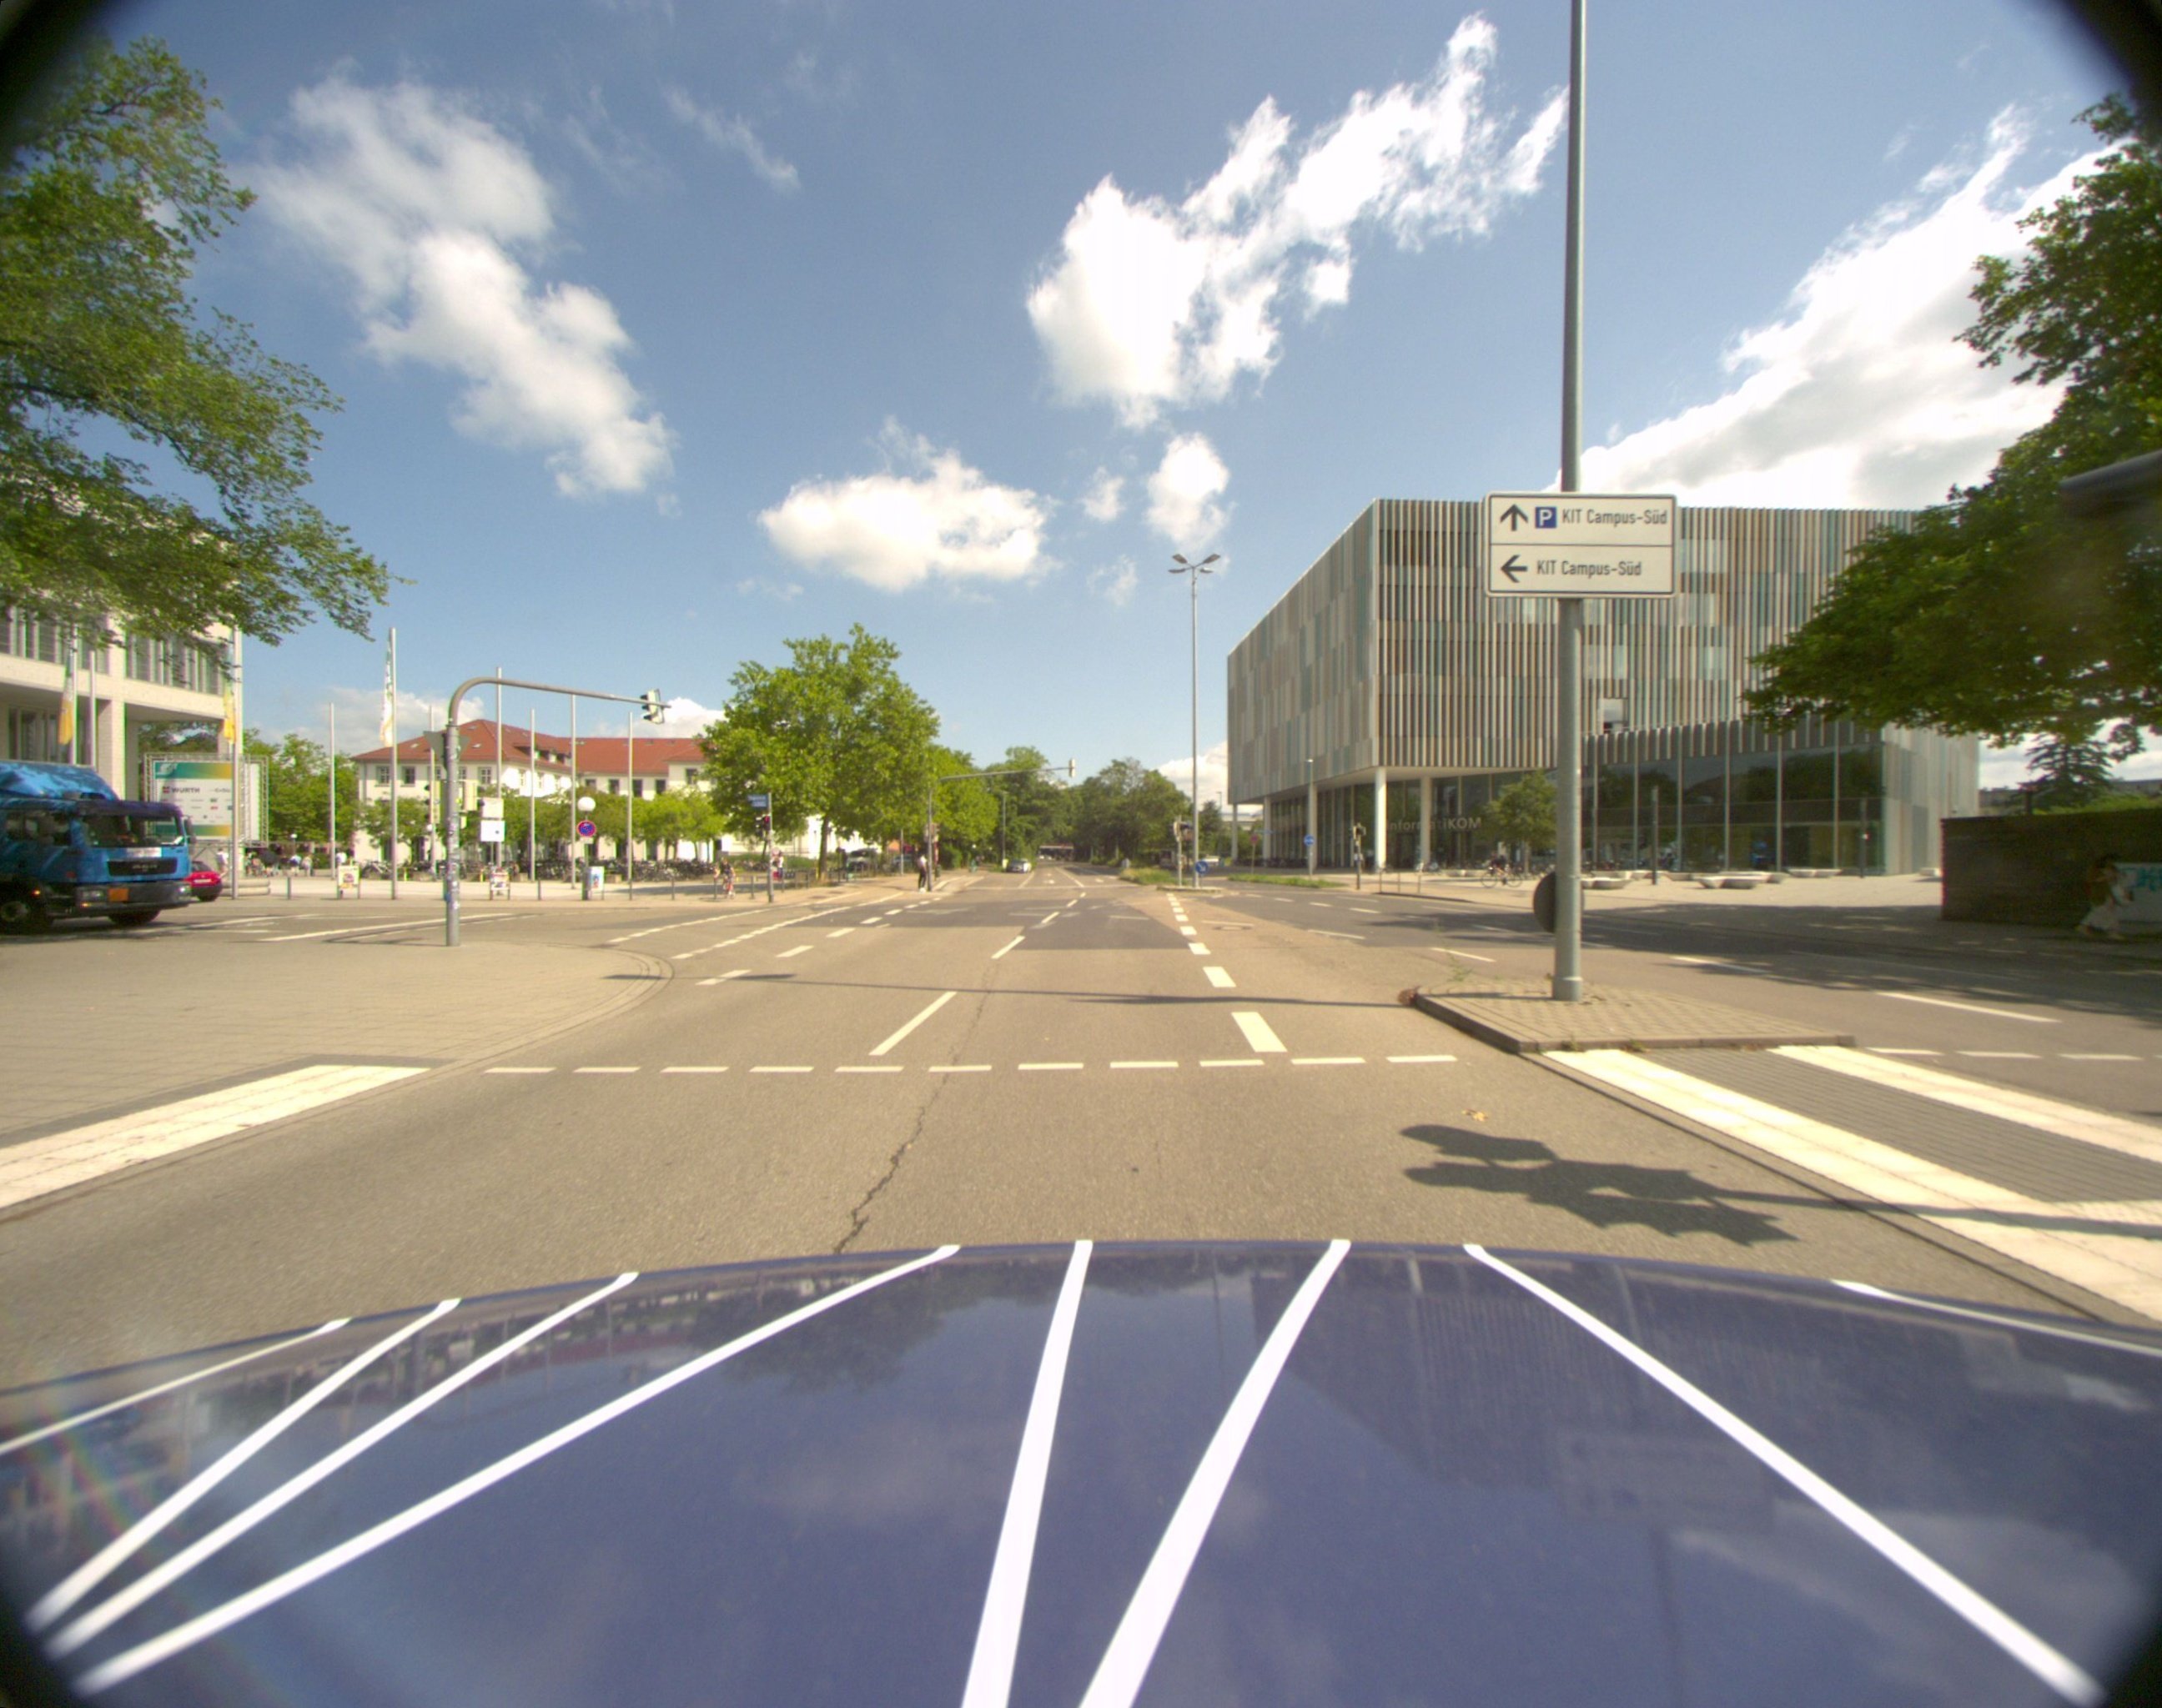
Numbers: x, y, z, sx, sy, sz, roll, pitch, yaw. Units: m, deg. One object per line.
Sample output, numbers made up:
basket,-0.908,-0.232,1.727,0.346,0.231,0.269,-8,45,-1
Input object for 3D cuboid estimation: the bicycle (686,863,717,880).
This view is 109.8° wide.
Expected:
bicycle,-24.854,1.123,49.781,1.673,1.090,0.626,0,0,-7

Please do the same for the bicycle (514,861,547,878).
bicycle,-36.651,1.020,50.617,1.673,1.090,0.626,0,0,-7

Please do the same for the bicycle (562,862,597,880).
bicycle,-30.937,1.016,46.863,1.673,1.090,0.626,0,0,-7

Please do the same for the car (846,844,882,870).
car,-17.776,0.250,62.548,1.999,2.002,4.900,0,0,-6

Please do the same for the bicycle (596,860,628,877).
bicycle,-30.669,0.945,49.735,1.673,1.090,0.626,0,0,-7

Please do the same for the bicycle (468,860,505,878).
bicycle,-36.575,0.911,46.752,1.673,1.090,0.626,0,0,-7

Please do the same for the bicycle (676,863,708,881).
bicycle,-24.536,1.139,47.915,1.673,1.090,0.626,0,0,-7

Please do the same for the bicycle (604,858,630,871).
bicycle,-37.751,0.850,61.776,1.673,1.090,0.626,0,0,-7

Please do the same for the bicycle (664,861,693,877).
bicycle,-27.895,1.062,52.645,1.673,1.090,0.626,0,0,-7

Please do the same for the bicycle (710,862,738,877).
bicycle,-24.899,1.076,52.984,1.673,0.966,0.626,0,0,-7

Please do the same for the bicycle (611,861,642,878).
bicycle,-30.815,1.045,51.483,1.673,1.090,0.626,0,0,-7

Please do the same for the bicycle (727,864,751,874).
bicycle,-27.683,1.211,61.544,1.673,0.785,0.626,0,0,-9

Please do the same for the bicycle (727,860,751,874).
bicycle,-27.137,1.015,60.311,1.673,1.090,0.626,0,0,-7

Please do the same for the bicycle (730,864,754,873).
bicycle,-27.773,1.182,62.228,1.673,0.785,0.626,0,0,-9

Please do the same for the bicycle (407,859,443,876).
bicycle,-42.605,0.869,49.341,1.673,1.090,0.626,0,0,-7

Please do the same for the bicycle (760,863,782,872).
bicycle,-26.274,1.141,64.397,1.673,0.729,0.626,0,0,-7

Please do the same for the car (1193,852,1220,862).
car,20.434,0.454,123.693,3.997,1.676,1.646,0,0,0

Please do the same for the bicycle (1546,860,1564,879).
bicycle,30.066,0.966,48.222,0.745,1.131,2.323,0,0,38

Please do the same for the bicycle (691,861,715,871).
bicycle,-32.043,0.994,64.377,1.673,0.785,0.626,0,0,-7

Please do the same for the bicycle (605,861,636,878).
bicycle,-30.752,1.045,50.743,1.673,1.090,0.626,0,0,-7

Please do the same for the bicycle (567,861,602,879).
bicycle,-31.024,0.977,47.500,1.673,1.090,0.626,0,0,-7

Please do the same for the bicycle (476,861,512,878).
bicycle,-36.712,0.959,47.499,1.673,1.090,0.626,0,0,-7

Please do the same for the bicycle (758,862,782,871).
bicycle,-25.711,1.033,62.802,1.673,0.729,0.626,0,0,-7

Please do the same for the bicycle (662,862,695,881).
bicycle,-24.676,1.066,46.554,1.673,1.090,0.626,0,0,-7

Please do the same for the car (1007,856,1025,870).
car,-6.576,0.909,77.122,1.709,1.321,3.998,2,0,-5

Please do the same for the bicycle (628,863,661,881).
bicycle,-26.793,1.094,46.653,1.673,1.090,0.626,0,0,-7

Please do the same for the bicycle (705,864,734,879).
bicycle,-24.871,1.185,52.322,1.673,0.979,0.626,0,0,-7

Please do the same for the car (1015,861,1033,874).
car,-6.141,1.482,82.865,1.560,1.335,4.000,2,0,1

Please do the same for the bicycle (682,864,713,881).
bicycle,-24.594,1.175,48.740,1.673,1.090,0.626,0,0,-7

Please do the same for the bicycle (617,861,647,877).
bicycle,-30.914,1.036,52.308,1.673,1.090,0.626,0,0,-7

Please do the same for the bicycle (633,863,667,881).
bicycle,-26.875,1.094,47.391,1.673,1.090,0.626,0,0,-7

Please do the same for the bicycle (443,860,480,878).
bicycle,-38.447,0.923,47.158,1.673,1.090,0.626,0,0,-7

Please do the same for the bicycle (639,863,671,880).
bicycle,-26.953,1.094,48.095,1.673,1.090,0.626,0,0,-7

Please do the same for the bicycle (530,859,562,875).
bicycle,-36.775,0.882,52.225,1.673,1.090,0.626,0,0,-7

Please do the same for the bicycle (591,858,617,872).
bicycle,-37.877,0.854,60.358,1.673,1.090,0.626,0,0,-7

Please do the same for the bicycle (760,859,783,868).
bicycle,-25.954,0.797,63.750,1.673,0.729,0.626,0,0,-7

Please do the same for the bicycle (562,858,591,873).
bicycle,-37.783,0.858,56.898,1.673,1.090,0.626,0,0,-7

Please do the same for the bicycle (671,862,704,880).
bicycle,-24.458,1.075,47.238,1.673,1.090,0.626,0,0,-7

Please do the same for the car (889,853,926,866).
car,-19.415,0.624,85.295,4.001,1.416,1.756,0,0,-10

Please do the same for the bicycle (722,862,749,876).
bicycle,-25.377,1.079,55.859,1.673,1.022,0.626,0,0,-7

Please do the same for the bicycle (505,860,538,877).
bicycle,-36.672,0.963,49.824,1.673,1.090,0.626,0,0,-7

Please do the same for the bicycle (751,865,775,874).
bicycle,-25.832,1.242,61.737,1.673,0.729,0.626,0,0,-7

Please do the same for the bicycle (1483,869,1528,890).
bicycle,19.551,1.161,34.978,1.771,0.887,0.639,0,0,32

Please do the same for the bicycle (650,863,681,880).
bicycle,-27.120,1.119,49.592,1.673,1.090,0.626,0,0,-7

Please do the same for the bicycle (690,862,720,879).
bicycle,-24.963,1.097,50.453,1.673,1.090,0.626,0,0,-7

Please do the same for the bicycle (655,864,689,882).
bicycle,-24.721,1.130,45.896,1.673,1.090,0.626,0,0,-7

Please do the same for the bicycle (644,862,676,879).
bicycle,-27.037,1.051,48.831,1.673,1.090,0.626,0,0,-7

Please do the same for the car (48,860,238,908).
car,-31.960,1.004,26.000,3.999,1.471,1.720,0,2,-6

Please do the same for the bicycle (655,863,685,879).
bicycle,-27.300,1.125,50.473,1.673,1.090,0.626,0,0,-7

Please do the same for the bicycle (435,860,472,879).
bicycle,-38.355,0.949,46.464,1.673,1.090,0.626,0,0,-7

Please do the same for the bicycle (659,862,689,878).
bicycle,-27.418,1.078,51.217,1.673,1.090,0.626,0,0,-7

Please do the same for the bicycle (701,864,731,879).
bicycle,-24.791,1.199,51.639,1.673,1.029,0.626,0,0,-7

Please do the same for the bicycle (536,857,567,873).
bicycle,-37.050,0.784,53.217,1.673,1.090,0.626,0,0,-7

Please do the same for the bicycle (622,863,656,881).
bicycle,-26.711,1.087,45.914,1.673,1.090,0.626,0,0,-7
